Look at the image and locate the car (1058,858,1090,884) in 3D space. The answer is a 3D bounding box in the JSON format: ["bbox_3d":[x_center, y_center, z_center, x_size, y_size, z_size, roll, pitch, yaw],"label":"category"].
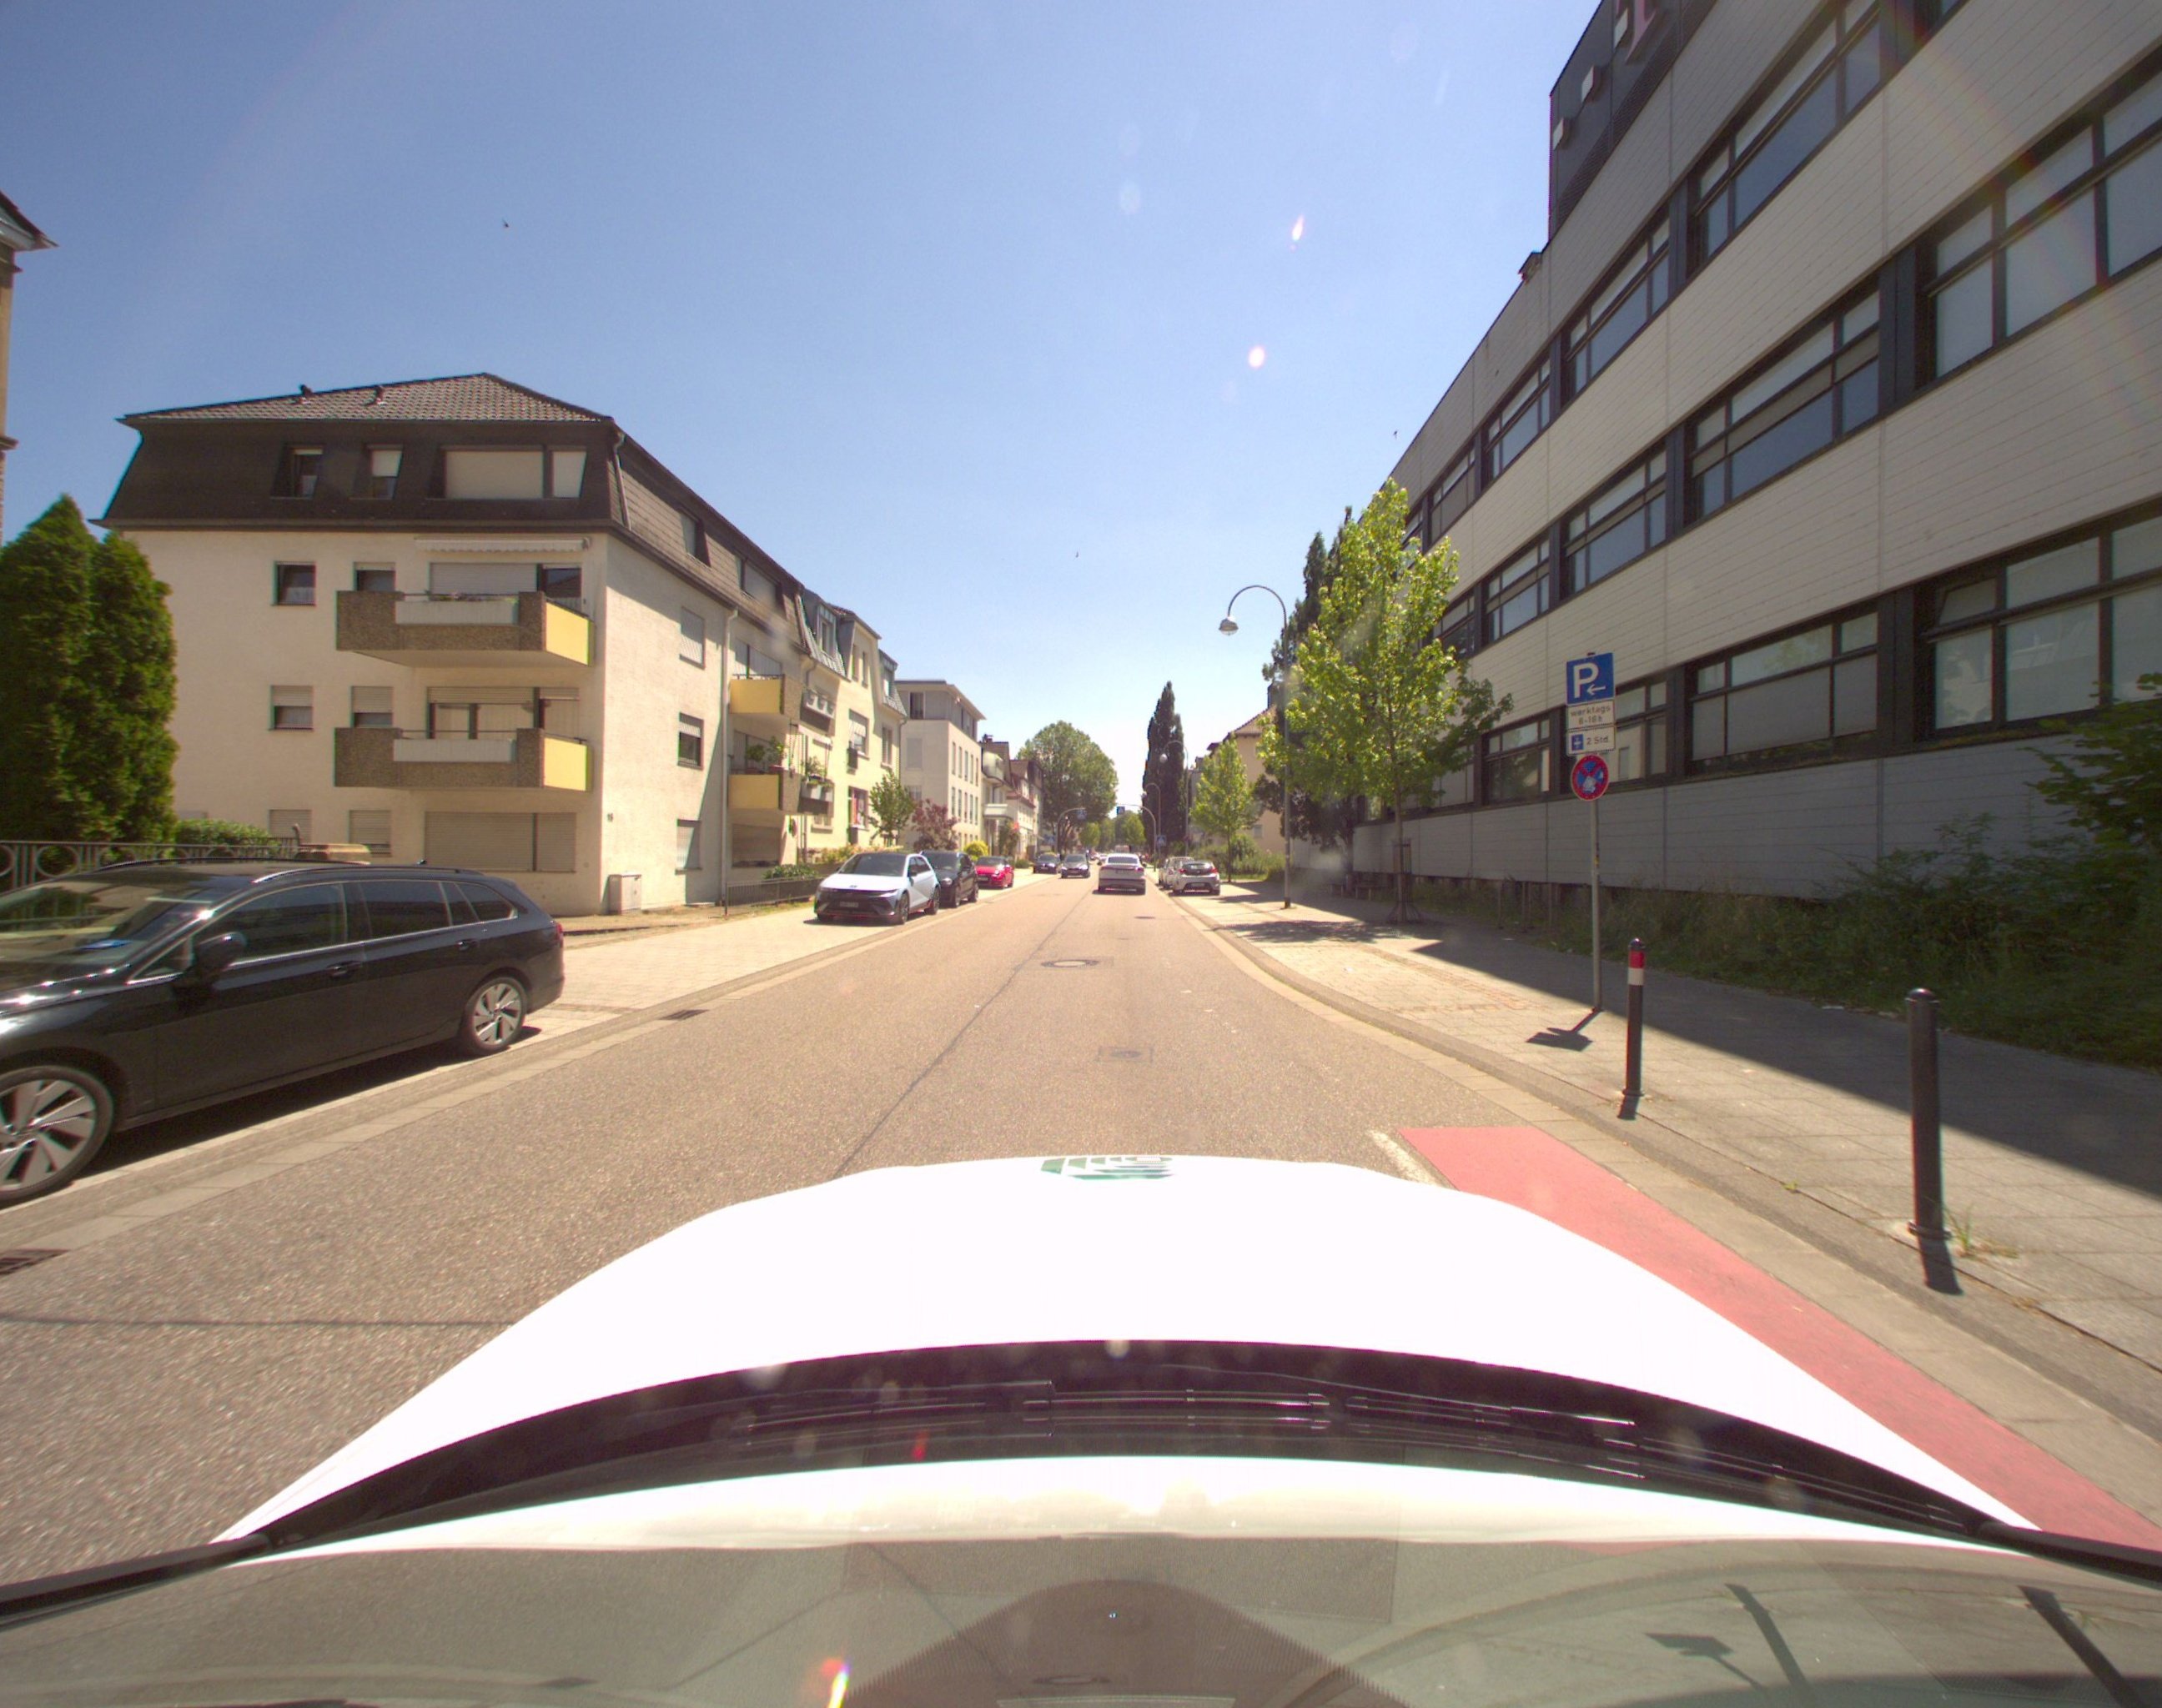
[{"bbox_3d":[-0.406,1.132,54.443,1.966,1.671,4.473,0,0,2],"label":"car"}]

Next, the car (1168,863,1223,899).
[{"bbox_3d":[4.608,1.050,33.365,1.855,1.373,4.002,0,0,2],"label":"car"}]

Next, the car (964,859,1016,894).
[{"bbox_3d":[-4.058,0.985,36.806,1.642,1.419,3.909,3,0,3],"label":"car"}]

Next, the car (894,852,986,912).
[{"bbox_3d":[-4.280,0.817,25.438,1.718,1.619,4.575,3,0,3],"label":"car"}]

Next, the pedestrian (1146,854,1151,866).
[{"bbox_3d":[9.775,0.911,118.377,0.692,1.736,0.667,0,-1,-2],"label":"pedestrian"}]

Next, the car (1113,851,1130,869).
[{"bbox_3d":[5.123,0.718,103.340,2.062,2.197,5.139,-1,0,1],"label":"car"}]

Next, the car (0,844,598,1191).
[{"bbox_3d":[-5.523,0.707,5.115,1.918,1.436,4.663,3,0,3],"label":"car"}]

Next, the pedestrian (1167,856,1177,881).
[{"bbox_3d":[6.372,1.039,57.248,0.635,1.758,0.616,0,-1,-2],"label":"pedestrian"}]

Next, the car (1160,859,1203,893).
[{"bbox_3d":[4.774,1.007,39.184,1.652,1.488,4.348,-1,-1,2],"label":"car"}]

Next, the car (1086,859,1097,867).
[{"bbox_3d":[2.069,1.695,156.218,1.986,1.520,4.002,0,0,2],"label":"car"}]

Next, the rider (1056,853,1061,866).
[{"bbox_3d":[-2.772,0.676,100.982,0.659,1.553,0.662,0,-1,2],"label":"rider"}]

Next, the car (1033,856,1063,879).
[{"bbox_3d":[-2.544,1.034,63.995,1.918,1.720,4.475,0,0,3],"label":"car"}]

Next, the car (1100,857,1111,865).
[{"bbox_3d":[4.341,1.260,145.407,1.971,1.520,4.002,0,0,2],"label":"car"}]

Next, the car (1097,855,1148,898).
[{"bbox_3d":[1.744,0.903,34.235,1.928,1.614,4.475,3,0,3],"label":"car"}]

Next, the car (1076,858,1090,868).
[{"bbox_3d":[0.277,1.344,121.668,1.986,1.520,4.002,0,0,2],"label":"car"}]

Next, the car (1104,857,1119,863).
[{"bbox_3d":[8.265,1.524,222.036,3.963,1.651,2.005,0,-1,9],"label":"car"}]

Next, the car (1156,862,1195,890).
[{"bbox_3d":[5.031,1.149,43.933,1.719,1.383,4.404,-1,-1,2],"label":"car"}]

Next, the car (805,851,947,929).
[{"bbox_3d":[-4.760,0.785,19.683,1.918,1.573,4.663,3,0,3],"label":"car"}]
